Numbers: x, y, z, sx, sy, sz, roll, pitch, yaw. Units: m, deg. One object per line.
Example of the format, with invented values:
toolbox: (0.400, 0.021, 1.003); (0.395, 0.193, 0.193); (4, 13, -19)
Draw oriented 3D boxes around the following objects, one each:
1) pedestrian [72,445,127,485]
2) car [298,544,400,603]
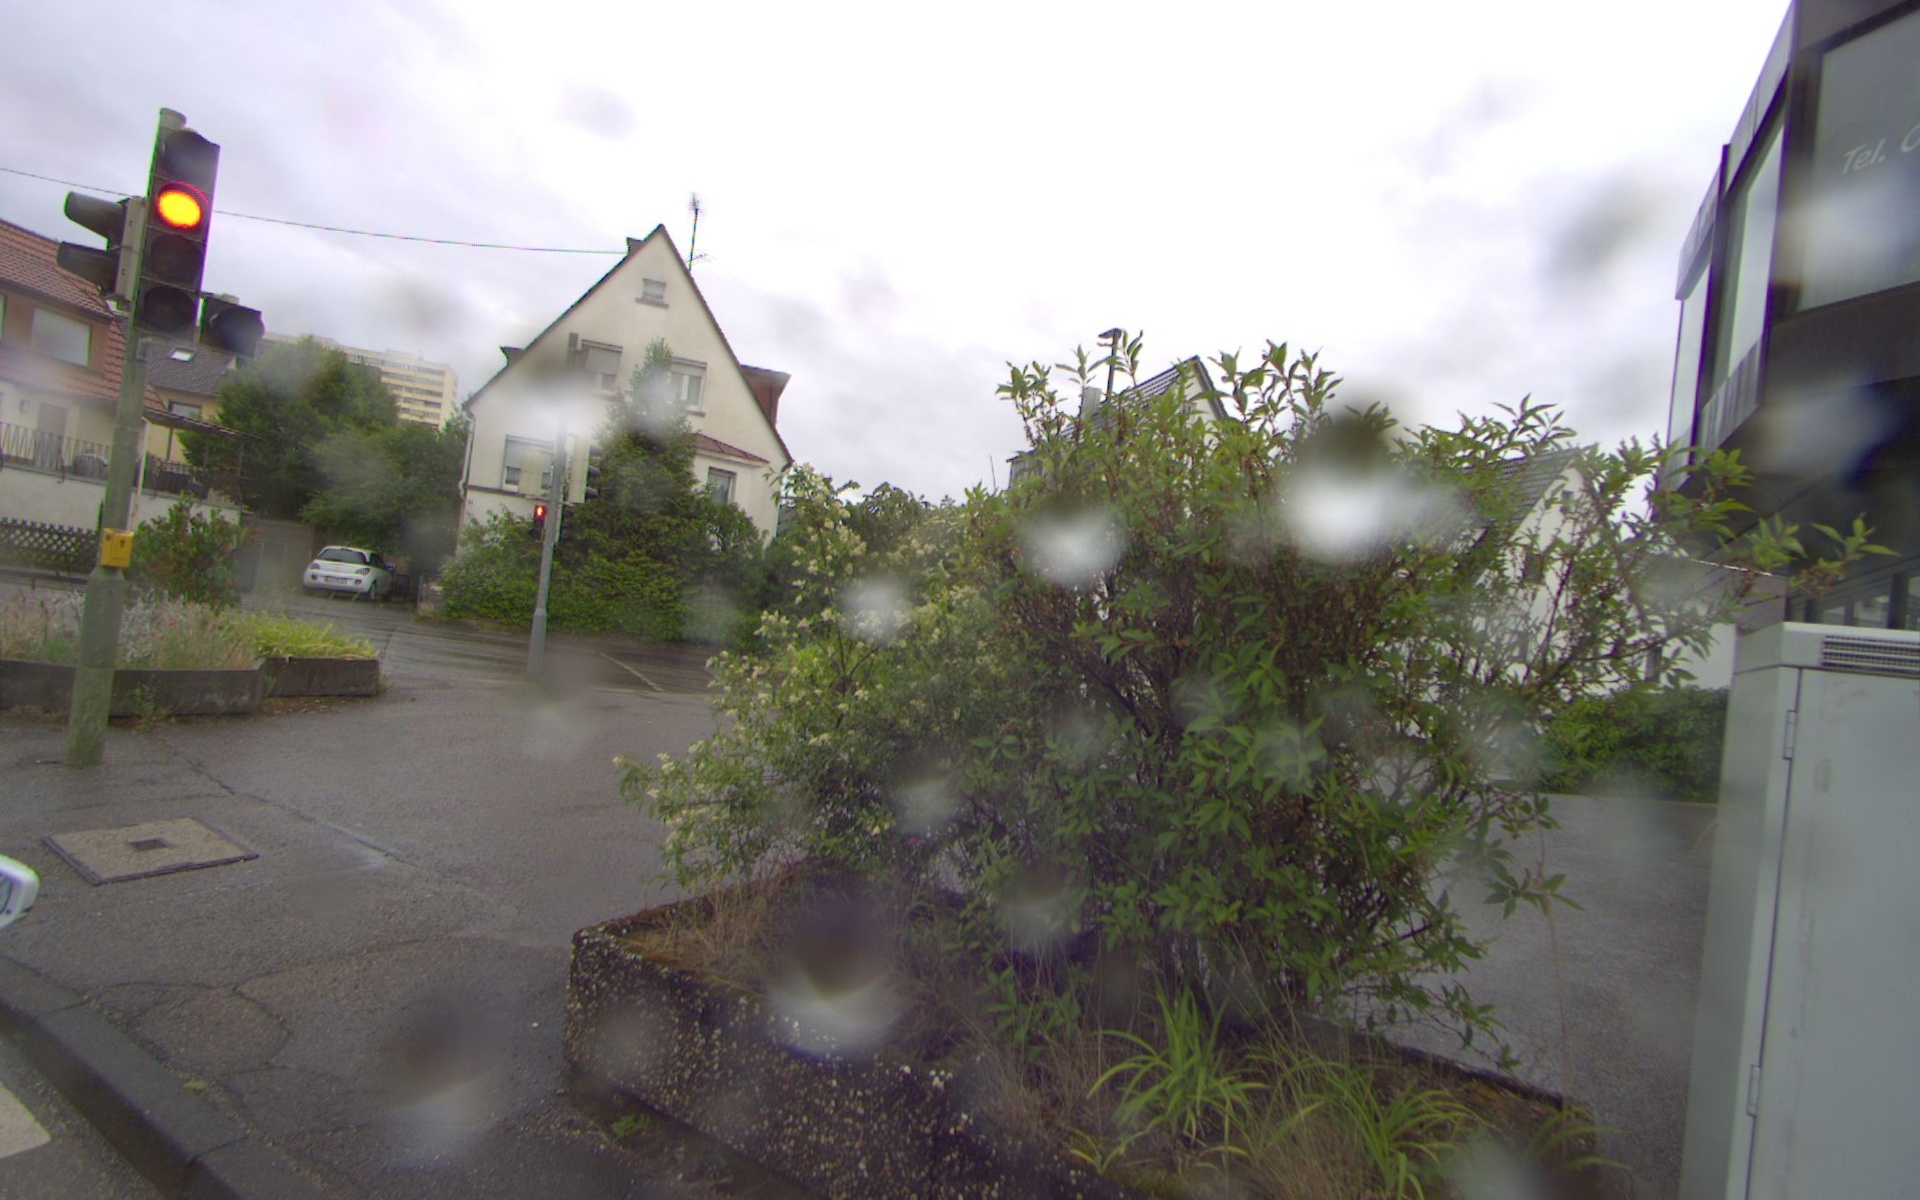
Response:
pedestrian: (-24.268, -3.800, 28.370); (0.623, 0.893, 0.920); (5, -2, 13)
car: (-17.752, -0.743, 29.420); (1.794, 1.378, 3.981); (8, -2, -22)
